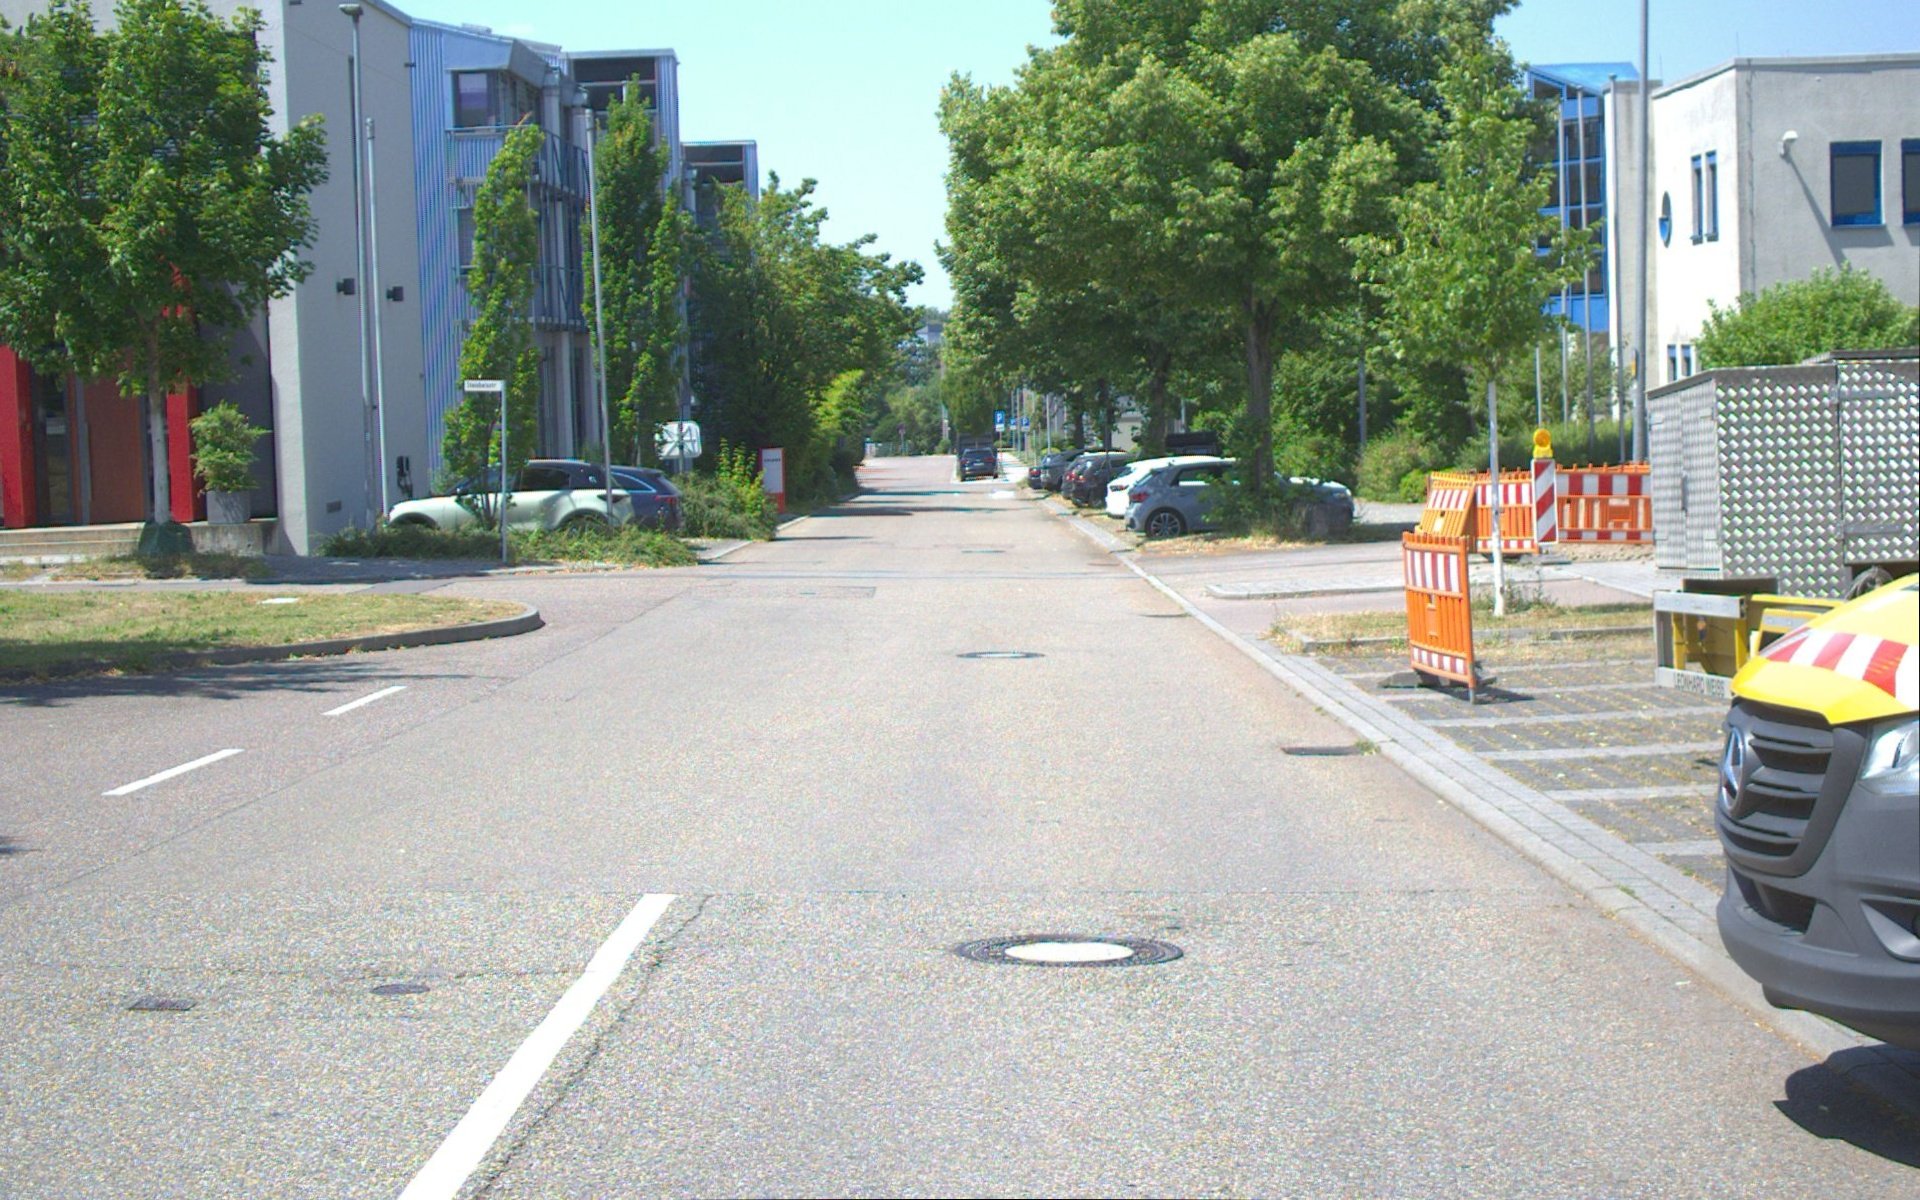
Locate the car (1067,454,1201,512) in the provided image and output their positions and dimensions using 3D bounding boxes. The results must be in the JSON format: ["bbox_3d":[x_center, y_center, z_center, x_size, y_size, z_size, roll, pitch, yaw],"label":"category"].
[{"bbox_3d":[4.954,-3.343,98.060,3.722,1.621,1.814,0,2,0],"label":"car"}]

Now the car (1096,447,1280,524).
[{"bbox_3d":[4.643,-2.344,70.404,3.516,1.349,1.538,-4,2,-4],"label":"car"}]

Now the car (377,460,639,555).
[{"bbox_3d":[-7.275,-1.510,55.585,4.045,1.489,1.729,0,2,-2],"label":"car"}]

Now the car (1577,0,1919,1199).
[{"bbox_3d":[4.628,-0.250,8.275,5.779,2.723,2.000,-4,3,2],"label":"car"}]

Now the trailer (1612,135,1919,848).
[{"bbox_3d":[5.034,-0.552,15.686,2.656,2.847,5.521,-3,2,-3],"label":"trailer"}]

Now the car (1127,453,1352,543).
[{"bbox_3d":[4.904,-1.814,60.630,3.678,1.349,1.646,-4,2,-4],"label":"car"}]

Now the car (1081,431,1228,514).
[{"bbox_3d":[5.018,-3.297,89.022,3.722,2.103,1.814,0,2,0],"label":"car"}]

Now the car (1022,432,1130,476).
[{"bbox_3d":[4.444,-5.621,132.149,3.931,1.572,1.768,-1,6,-7],"label":"car"}]

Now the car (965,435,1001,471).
[{"bbox_3d":[1.156,-7.307,171.487,1.761,1.749,3.945,0,2,1],"label":"car"}]

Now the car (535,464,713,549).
[{"bbox_3d":[-5.879,-1.644,60.111,3.057,1.473,1.293,0,2,-6],"label":"car"}]

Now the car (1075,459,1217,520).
[{"bbox_3d":[5.004,-2.997,92.873,3.722,1.621,1.814,0,2,0],"label":"car"}]

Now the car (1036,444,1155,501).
[{"bbox_3d":[4.720,-4.460,120.106,3.931,1.828,1.768,-1,6,-7],"label":"car"}]
